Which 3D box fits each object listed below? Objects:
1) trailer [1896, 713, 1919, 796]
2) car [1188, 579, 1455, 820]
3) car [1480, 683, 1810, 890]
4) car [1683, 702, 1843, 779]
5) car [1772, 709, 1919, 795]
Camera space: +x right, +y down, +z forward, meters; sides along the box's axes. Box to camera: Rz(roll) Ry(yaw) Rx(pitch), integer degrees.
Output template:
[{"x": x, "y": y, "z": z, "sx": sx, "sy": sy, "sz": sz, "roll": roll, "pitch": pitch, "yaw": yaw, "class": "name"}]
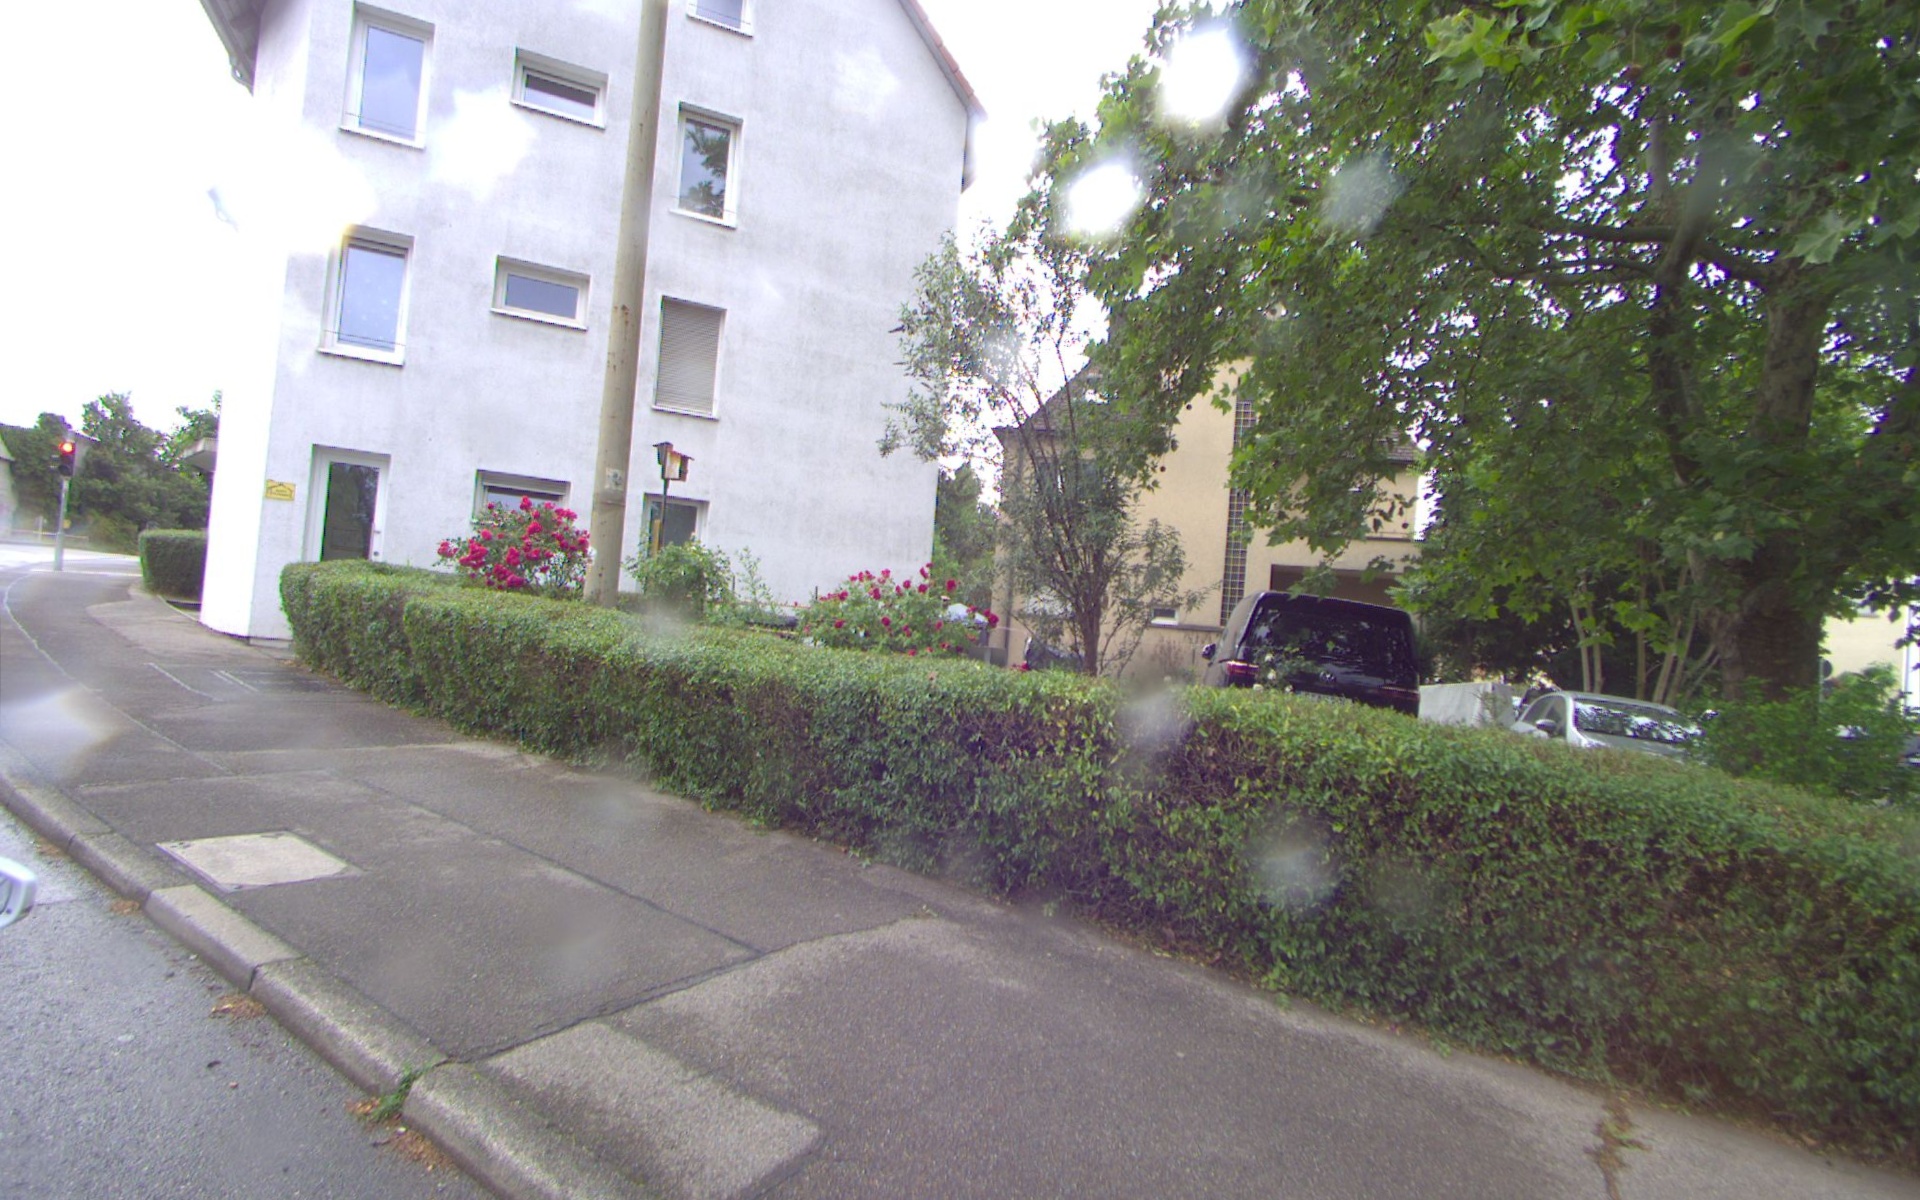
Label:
[{"x": 24.714, "y": 3.923, "z": 23.987, "sx": 1.640, "sy": 2.037, "sz": 3.494, "roll": 6, "pitch": -1, "yaw": 8, "class": "trailer"}, {"x": 3.753, "y": 0.991, "z": 11.314, "sx": 1.962, "sy": 1.955, "sz": 4.419, "roll": 6, "pitch": -1, "yaw": 11, "class": "car"}, {"x": 7.381, "y": 1.880, "z": 11.358, "sx": 1.788, "sy": 1.599, "sz": 4.003, "roll": 6, "pitch": -2, "yaw": 16, "class": "car"}, {"x": 26.342, "y": 4.552, "z": 33.246, "sx": 1.962, "sy": 1.861, "sz": 4.584, "roll": 6, "pitch": -2, "yaw": 9, "class": "car"}, {"x": 25.258, "y": 4.211, "z": 28.001, "sx": 1.962, "sy": 1.861, "sz": 4.584, "roll": 6, "pitch": -2, "yaw": 9, "class": "car"}]
